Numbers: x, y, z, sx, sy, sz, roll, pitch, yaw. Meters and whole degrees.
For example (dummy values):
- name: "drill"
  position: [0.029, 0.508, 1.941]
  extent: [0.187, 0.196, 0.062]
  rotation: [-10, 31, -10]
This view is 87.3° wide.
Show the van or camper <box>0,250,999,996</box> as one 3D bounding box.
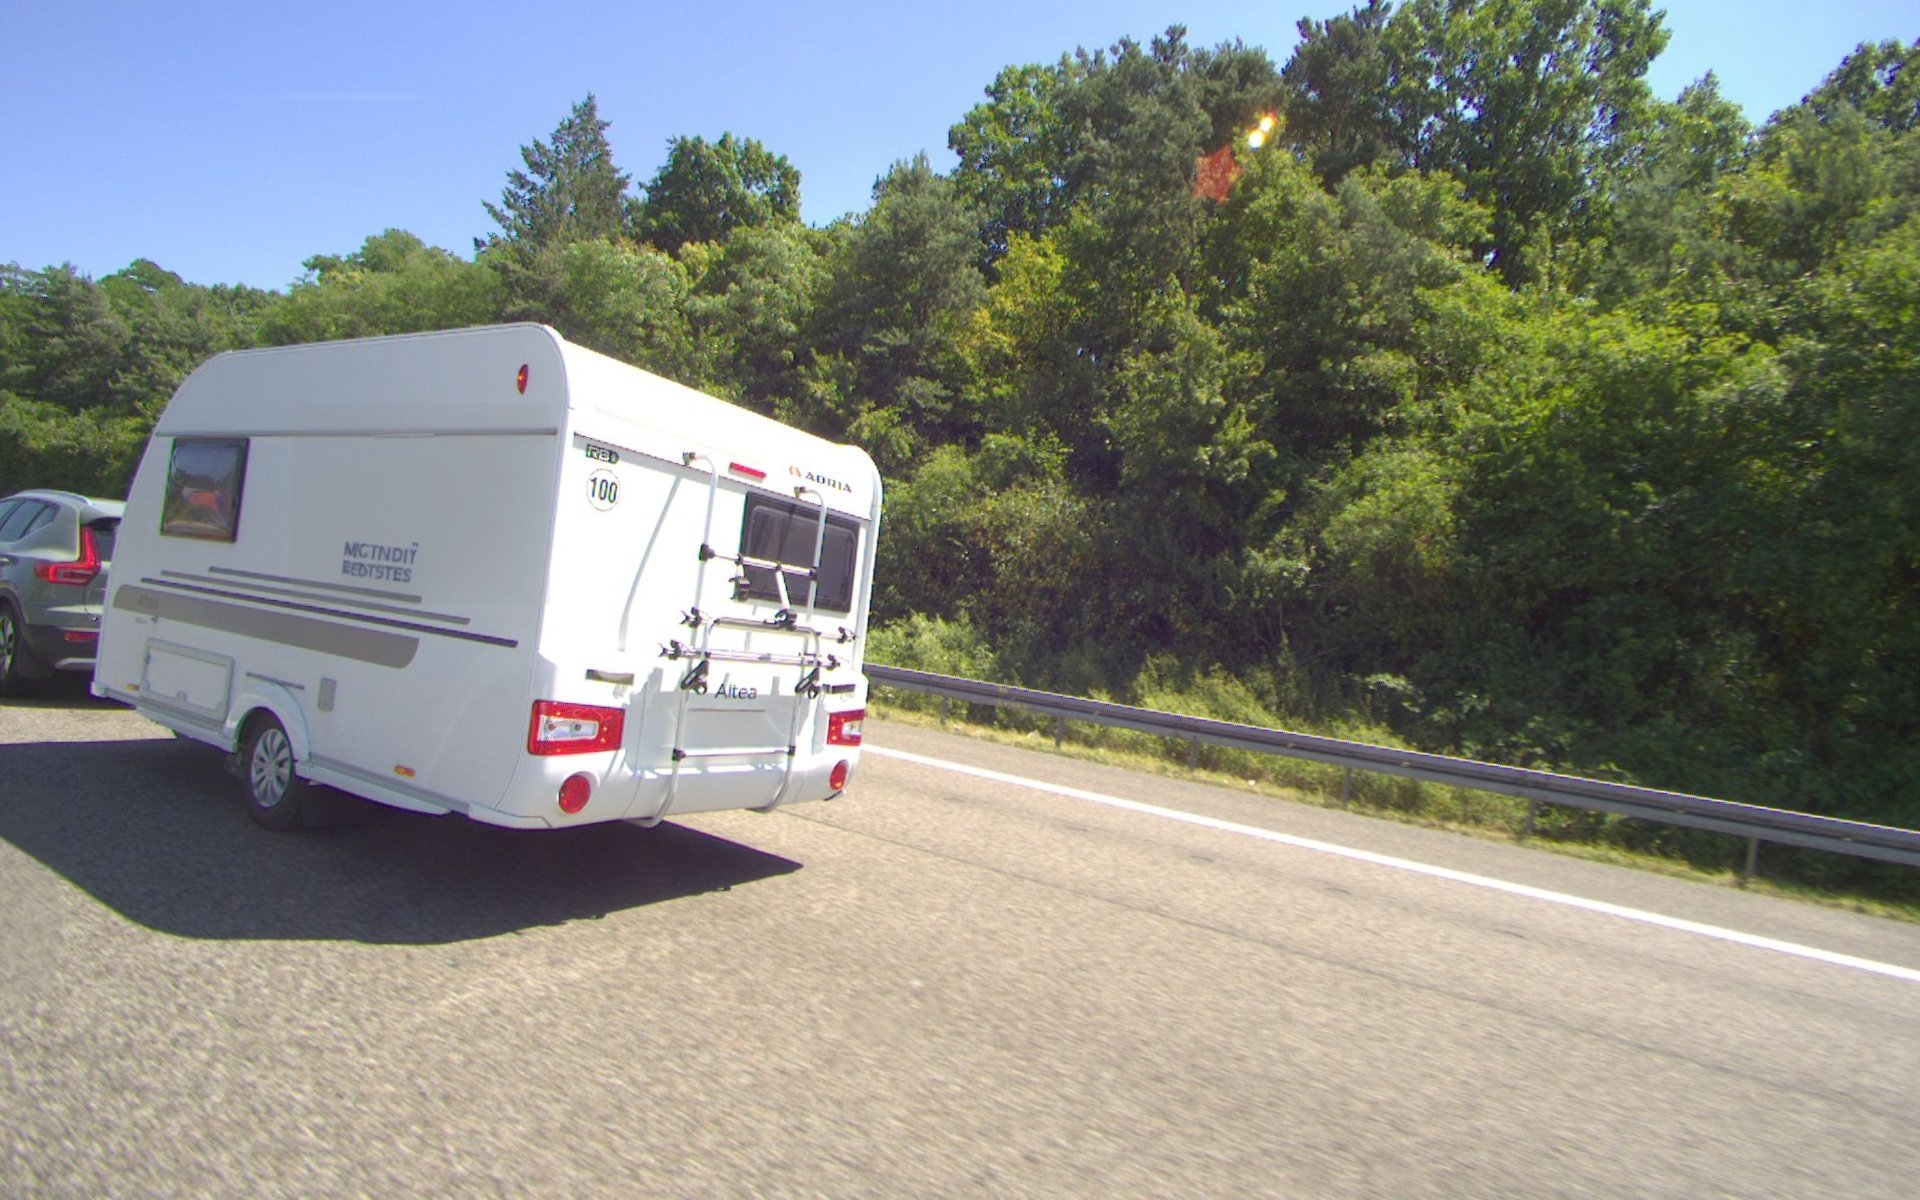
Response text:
- name: "van or camper"
  position: [-3.201, -0.131, 6.300]
  extent: [6.244, 2.707, 2.442]
  rotation: [7, 0, 31]

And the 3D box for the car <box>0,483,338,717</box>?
- name: "car"
  position: [-7.958, -0.110, 9.168]
  extent: [4.623, 1.631, 1.883]
  rotation: [6, -1, 31]
